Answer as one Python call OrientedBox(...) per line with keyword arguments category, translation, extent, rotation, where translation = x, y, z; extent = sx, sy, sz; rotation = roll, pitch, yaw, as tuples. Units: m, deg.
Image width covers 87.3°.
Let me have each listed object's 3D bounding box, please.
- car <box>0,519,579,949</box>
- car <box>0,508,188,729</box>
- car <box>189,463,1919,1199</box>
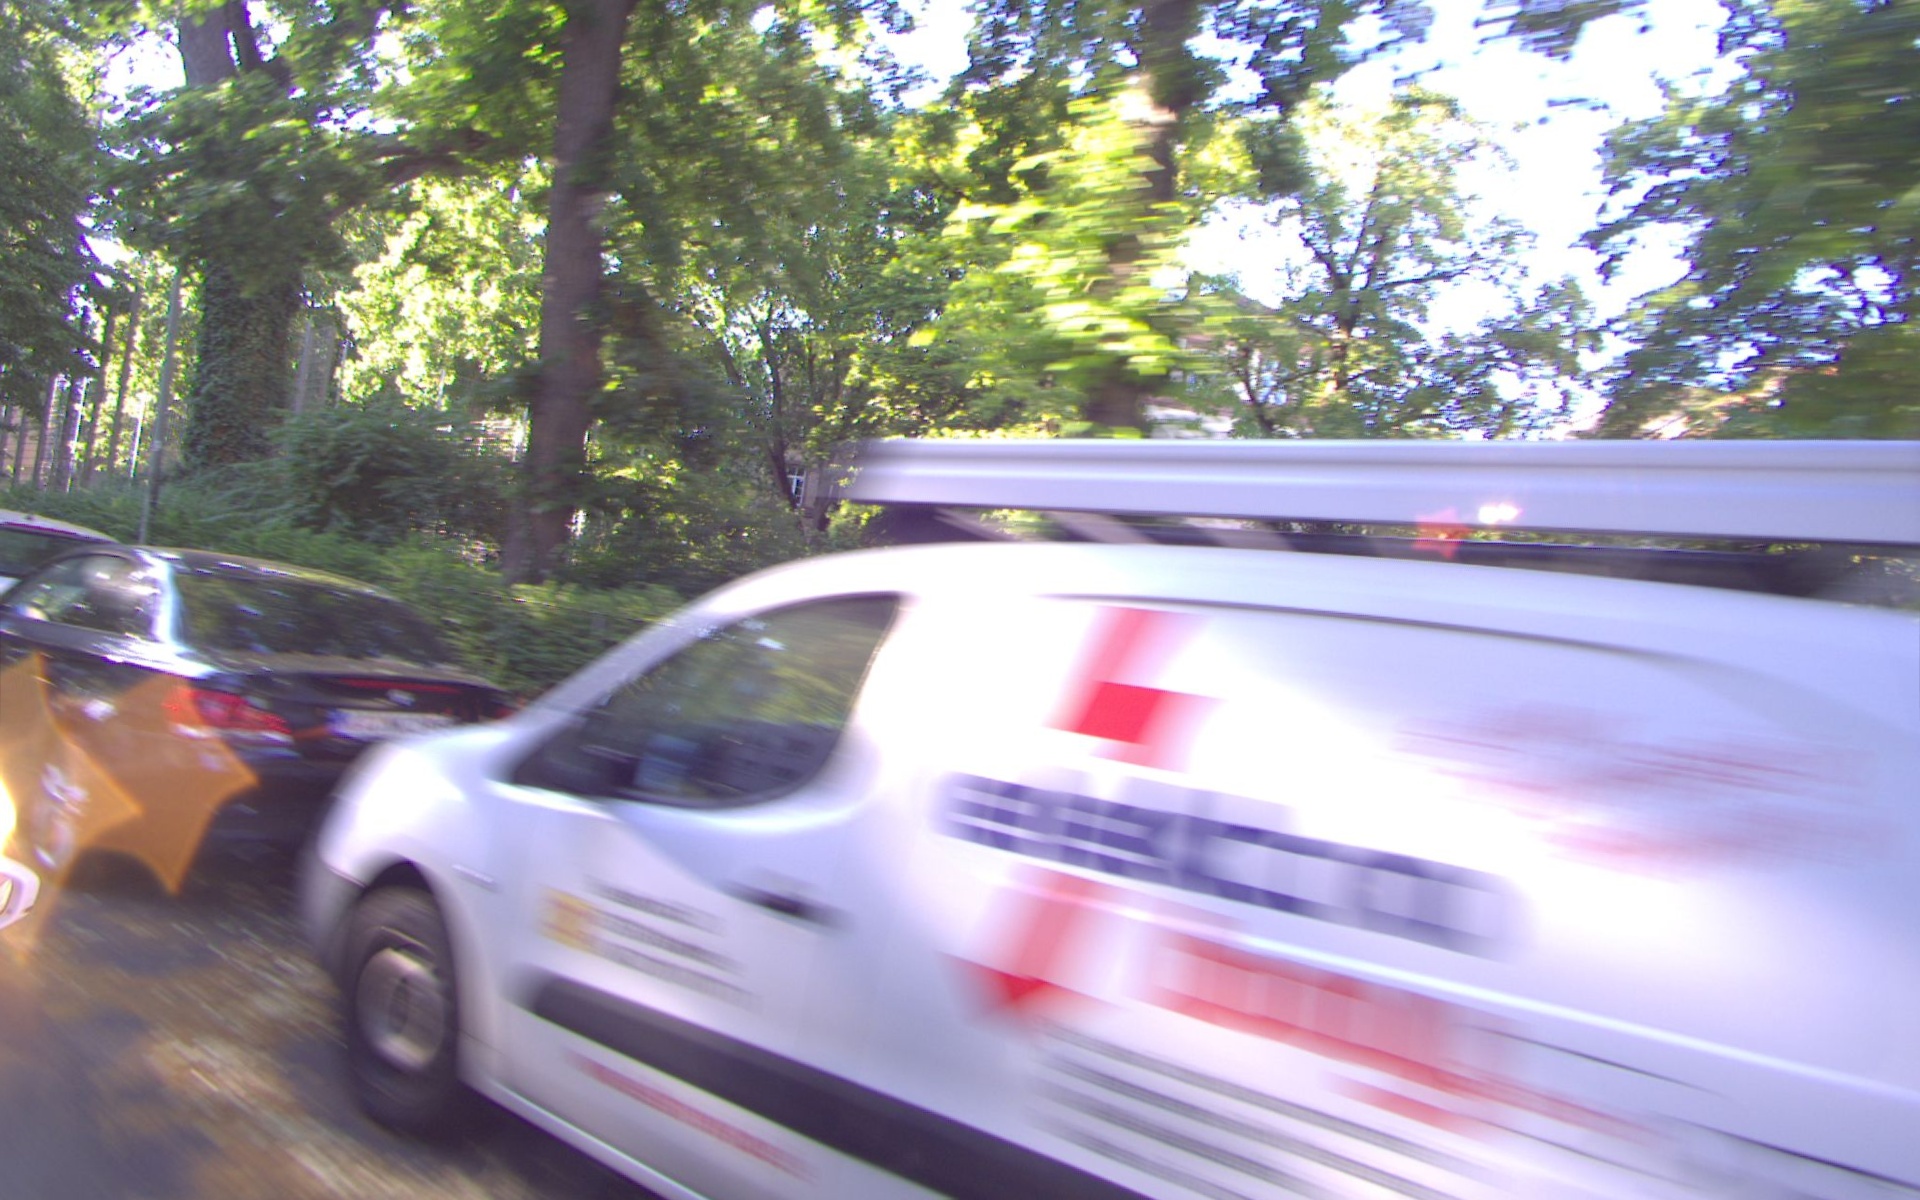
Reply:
OrientedBox(category="car", translation=(-4.191, 0.433, 5.433), extent=(4.196, 1.406, 1.676), rotation=(7, -2, 32))
OrientedBox(category="car", translation=(-8.021, -0.036, 7.967), extent=(3.829, 1.475, 1.676), rotation=(7, -2, 32))
OrientedBox(category="car", translation=(-0.039, 0.738, 2.836), extent=(4.303, 1.727, 1.791), rotation=(7, -2, 31))
